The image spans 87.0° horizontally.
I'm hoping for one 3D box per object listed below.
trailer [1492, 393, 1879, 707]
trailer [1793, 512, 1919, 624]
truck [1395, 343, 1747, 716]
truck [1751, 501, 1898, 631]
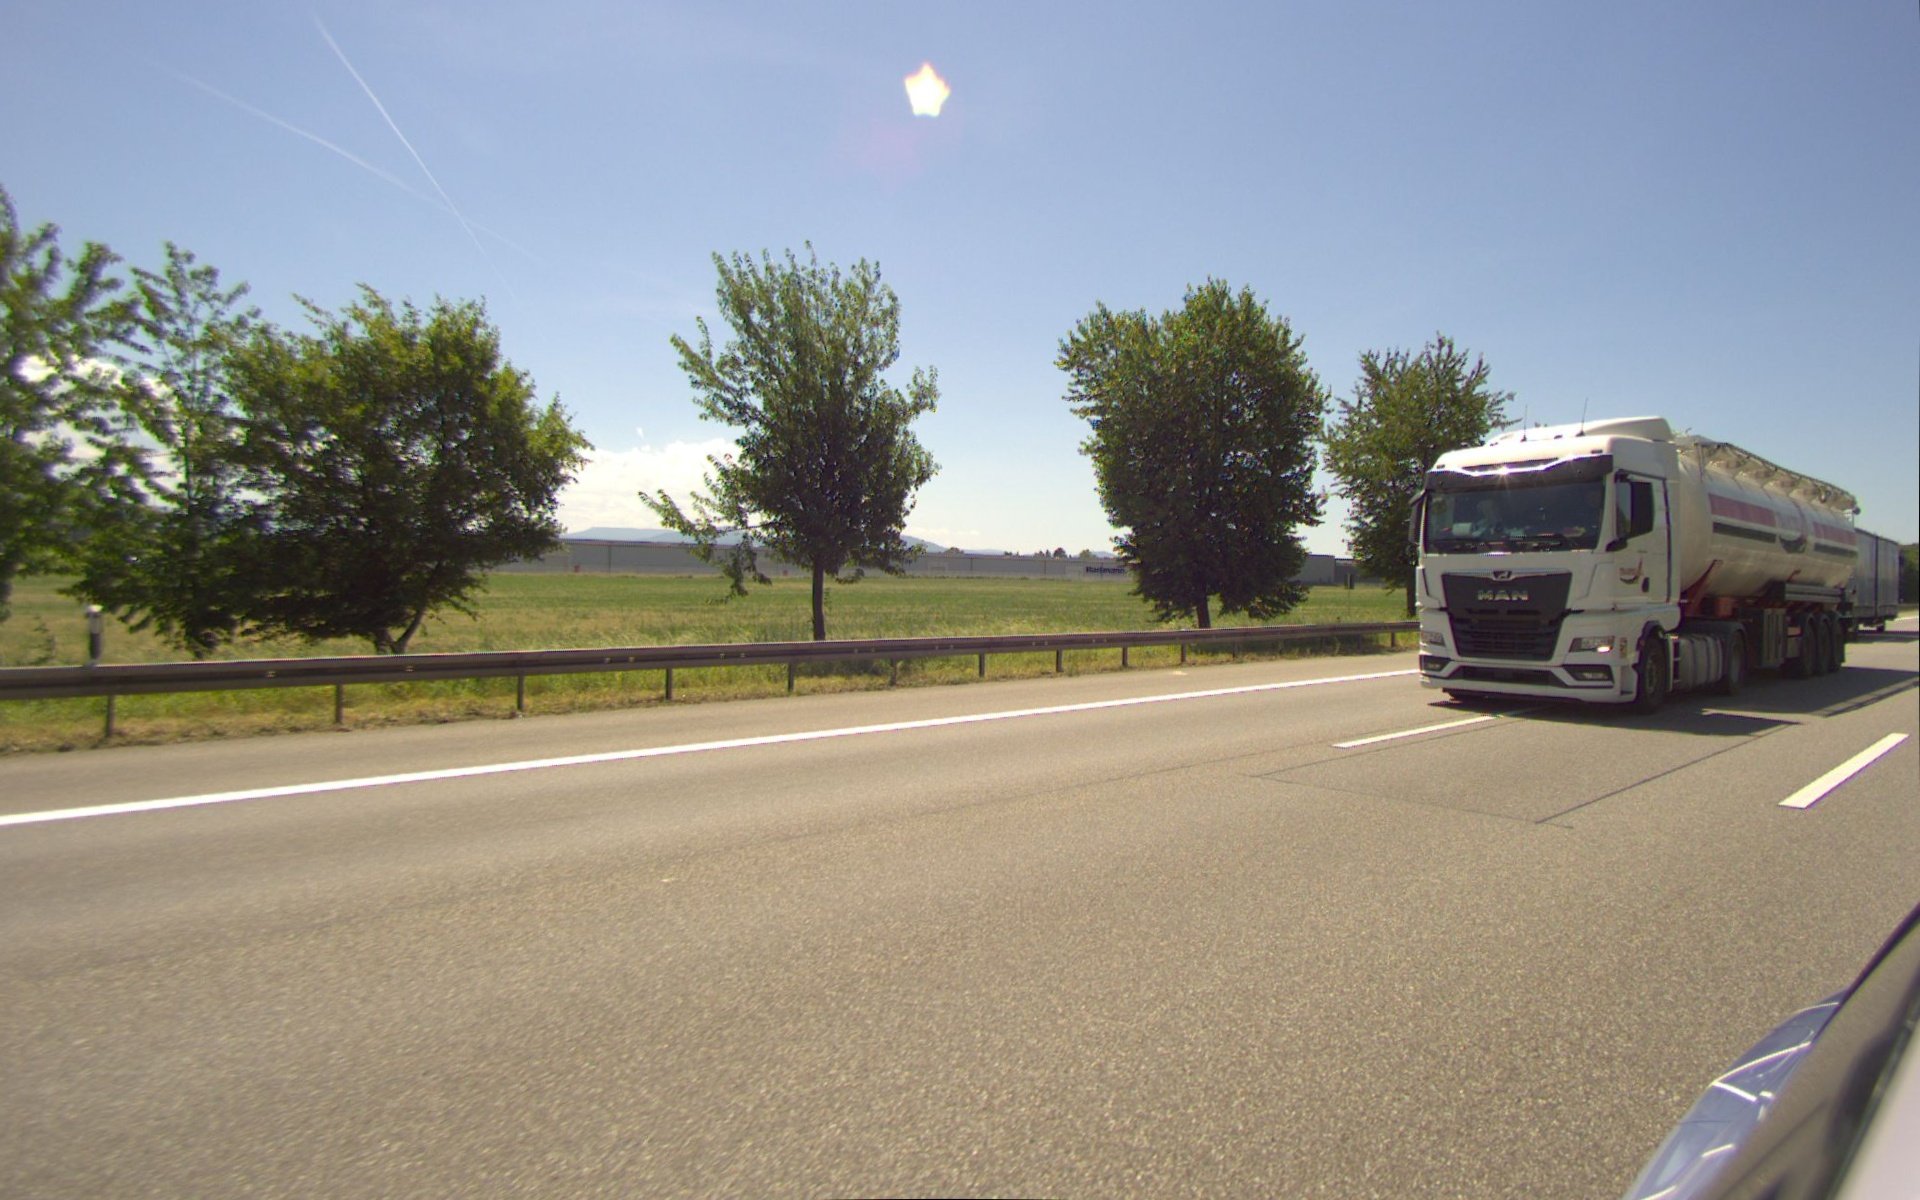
[{"bbox_3d":[13.939,-0.748,18.708,12.132,4.257,2.796,0,1,-40],"label":"trailer"},{"bbox_3d":[38.333,-1.297,43.109,10.621,4.257,2.794,0,1,-42],"label":"trailer"},{"bbox_3d":[8.681,-0.856,14.239,4.912,4.257,2.796,0,1,-40],"label":"truck"},{"bbox_3d":[32.494,-1.178,37.820,10.621,4.257,2.794,0,1,-42],"label":"truck"}]
